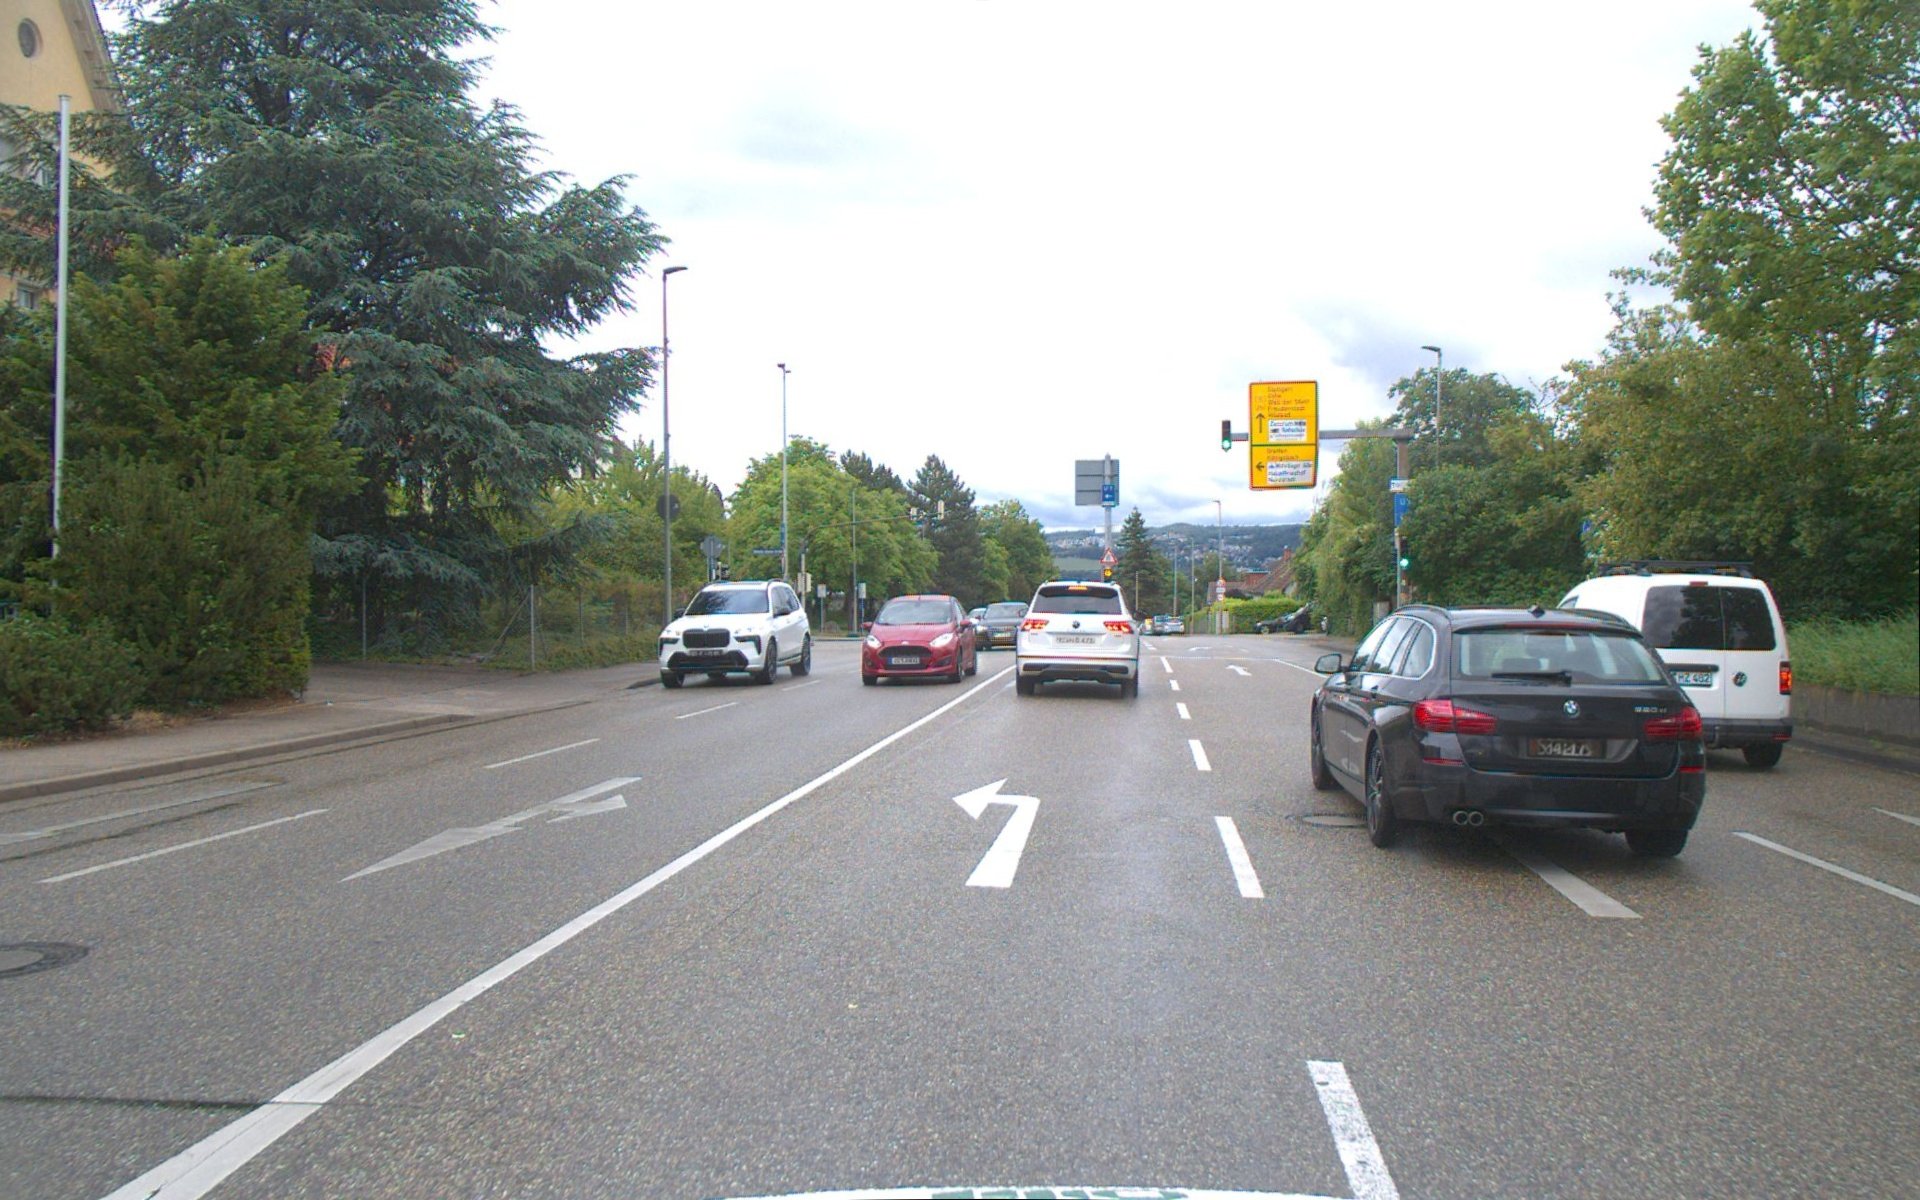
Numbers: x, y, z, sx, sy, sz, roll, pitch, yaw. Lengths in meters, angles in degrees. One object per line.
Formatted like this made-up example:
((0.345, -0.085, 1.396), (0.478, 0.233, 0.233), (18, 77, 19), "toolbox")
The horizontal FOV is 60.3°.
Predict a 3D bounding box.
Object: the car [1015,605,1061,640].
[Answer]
((3.492, 0.991, 73.450), (1.712, 1.409, 4.414), (-2, 0, 7), "car")

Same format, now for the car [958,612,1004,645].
((1.011, 1.307, 77.117), (1.737, 1.409, 4.552), (-1, 0, 6), "car")

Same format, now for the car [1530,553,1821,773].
((7.144, 0.513, 16.927), (1.727, 1.909, 3.809), (1, 3, 8), "car")

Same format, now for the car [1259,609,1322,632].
((21.069, 1.300, 105.639), (3.902, 1.400, 1.586), (1, 0, 10), "car")

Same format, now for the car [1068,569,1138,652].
((3.927, 0.252, 44.989), (1.772, 2.124, 3.853), (1, 1, 6), "car")

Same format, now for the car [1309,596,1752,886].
((3.490, 0.751, 10.926), (1.859, 1.466, 4.003), (2, 0, 6), "car")

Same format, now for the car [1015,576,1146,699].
((1.908, 0.499, 25.329), (1.829, 1.703, 4.003), (1, 1, 6), "car")

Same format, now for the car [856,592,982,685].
((-0.648, 0.618, 28.799), (1.645, 1.444, 3.844), (-2, 0, 6), "car")

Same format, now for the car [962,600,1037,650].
((1.267, 0.736, 50.777), (1.852, 1.428, 4.268), (-1, 0, 7), "car")

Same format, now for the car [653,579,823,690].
((-3.982, 0.573, 30.616), (1.876, 1.793, 5.147), (-3, 0, 6), "car")
